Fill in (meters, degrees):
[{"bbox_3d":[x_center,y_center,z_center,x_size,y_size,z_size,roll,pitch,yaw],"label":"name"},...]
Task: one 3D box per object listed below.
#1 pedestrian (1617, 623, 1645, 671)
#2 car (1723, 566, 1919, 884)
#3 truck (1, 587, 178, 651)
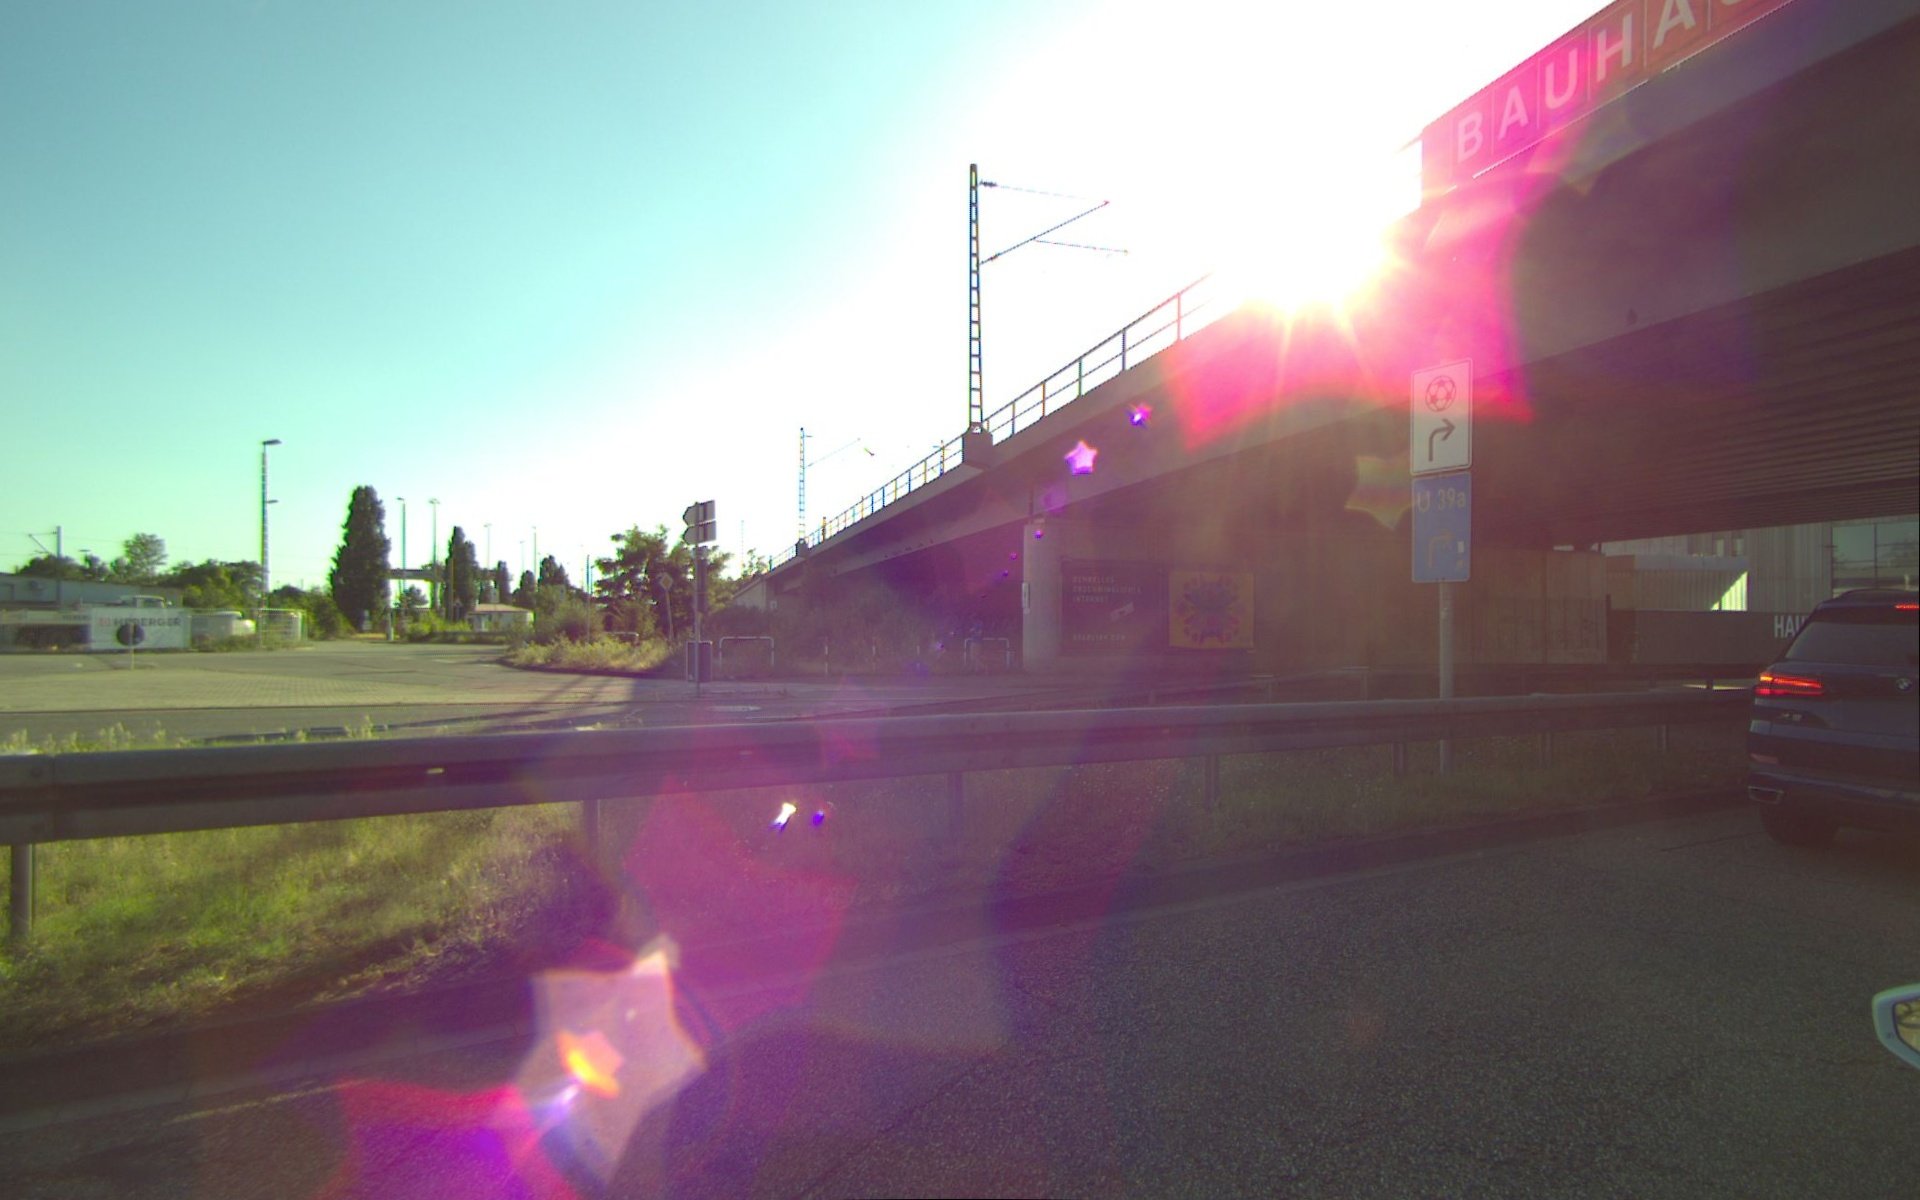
[{"bbox_3d":[27.673,1.932,41.434,0.656,1.928,0.692,2,-1,-25],"label":"pedestrian"},{"bbox_3d":[7.231,0.781,6.710,4.408,1.761,1.821,3,-2,-29],"label":"car"},{"bbox_3d":[-46.722,1.084,54.182,2.393,3.186,6.775,1,-2,25],"label":"truck"}]
